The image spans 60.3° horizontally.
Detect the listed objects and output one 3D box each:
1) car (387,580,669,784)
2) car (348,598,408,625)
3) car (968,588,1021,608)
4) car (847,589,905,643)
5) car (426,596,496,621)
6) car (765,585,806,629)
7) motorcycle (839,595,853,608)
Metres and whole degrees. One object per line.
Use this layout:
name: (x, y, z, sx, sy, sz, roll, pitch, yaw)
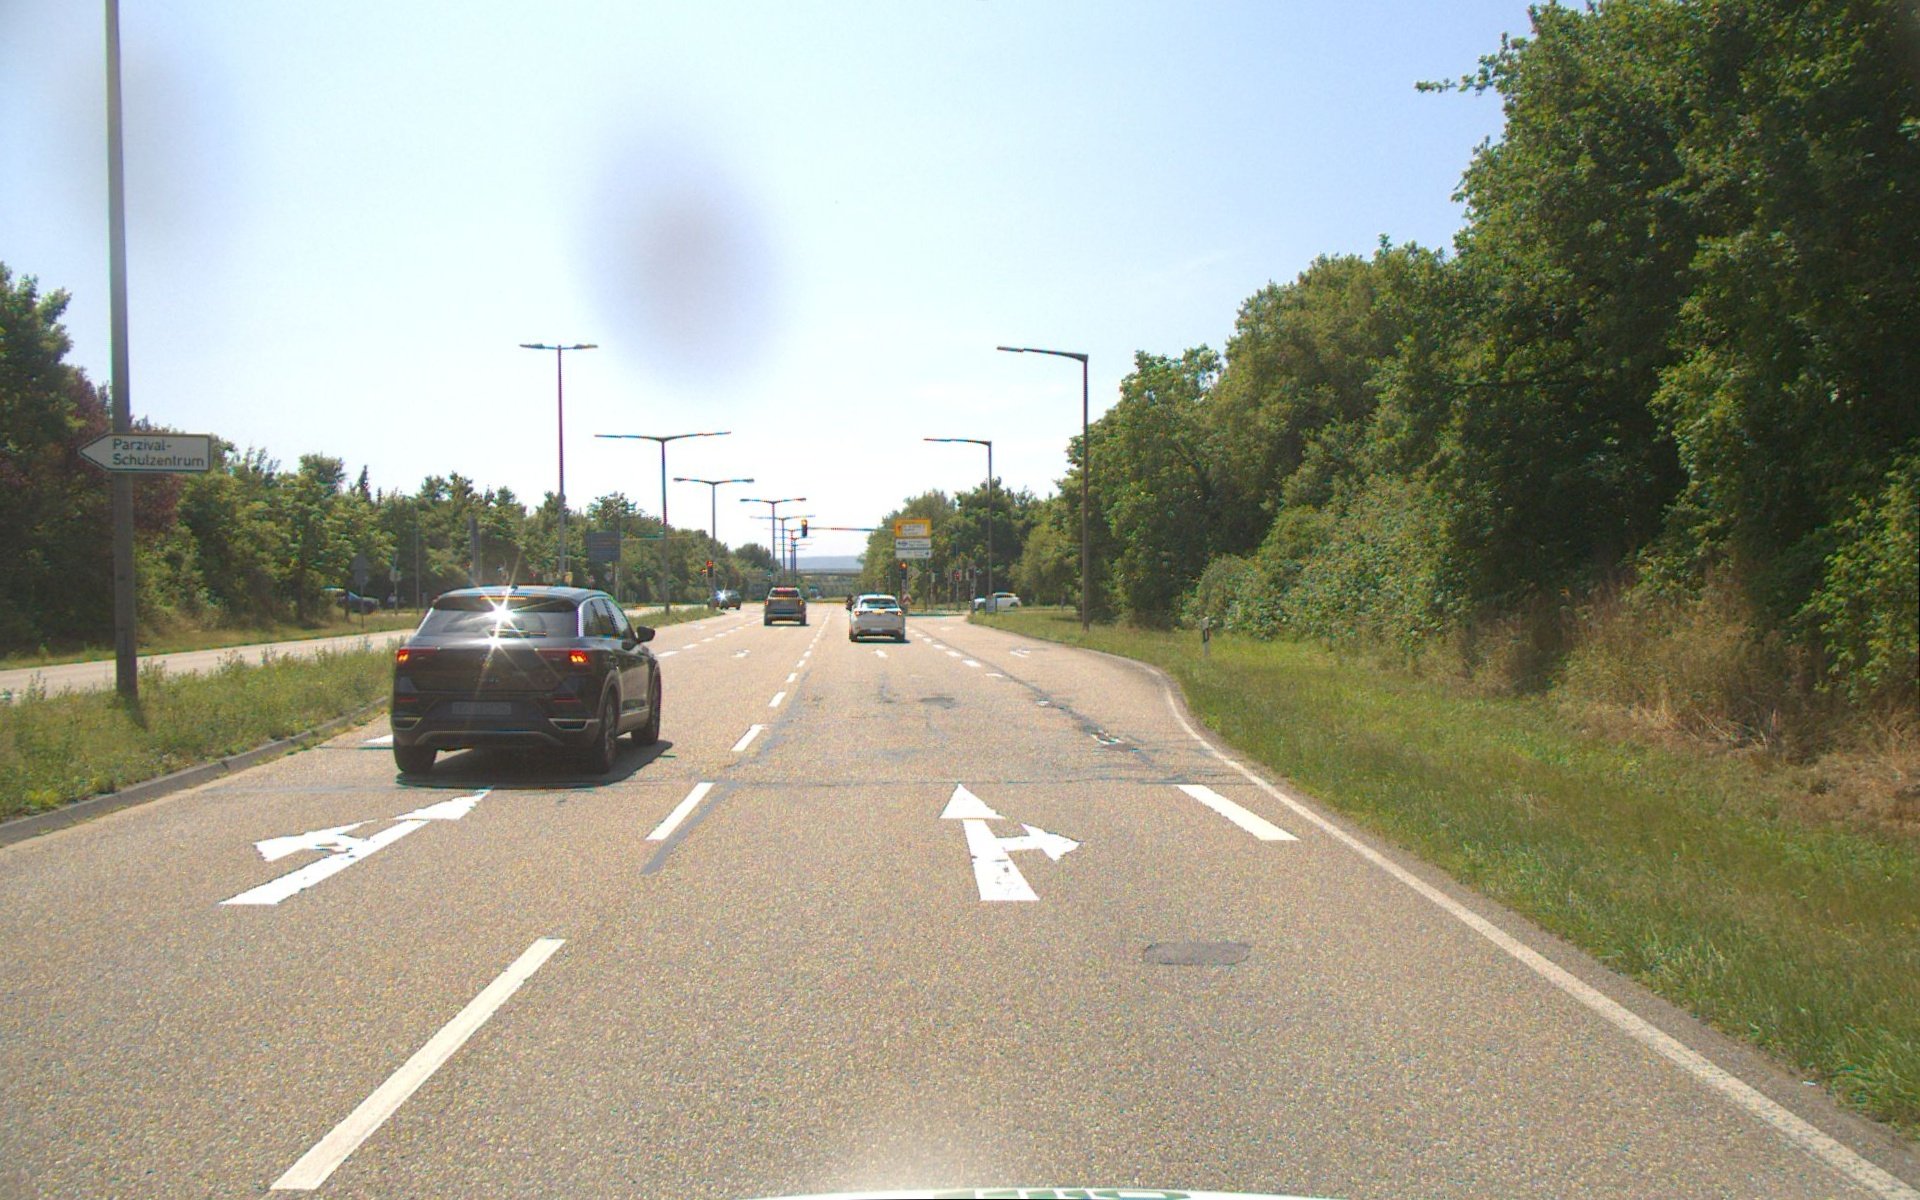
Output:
car: (-3.730, 0.636, 14.953, 1.720, 1.583, 3.997, 0, 0, -4)
car: (-42.178, 0.823, 119.946, 3.923, 1.862, 1.991, 0, 0, -17)
car: (2.810, -0.151, 135.805, 4.029, 1.552, 1.932, -1, 0, -12)
car: (-2.642, 0.486, 52.845, 1.761, 1.611, 3.998, -1, 0, -2)
car: (-34.522, 0.579, 114.474, 4.442, 1.670, 1.972, 0, 0, -12)
car: (-8.030, 0.331, 76.459, 1.720, 1.962, 3.997, 0, 0, -4)
motorcycle: (-11.811, 0.165, 171.729, 1.396, 1.303, 2.567, -2, 0, -4)
